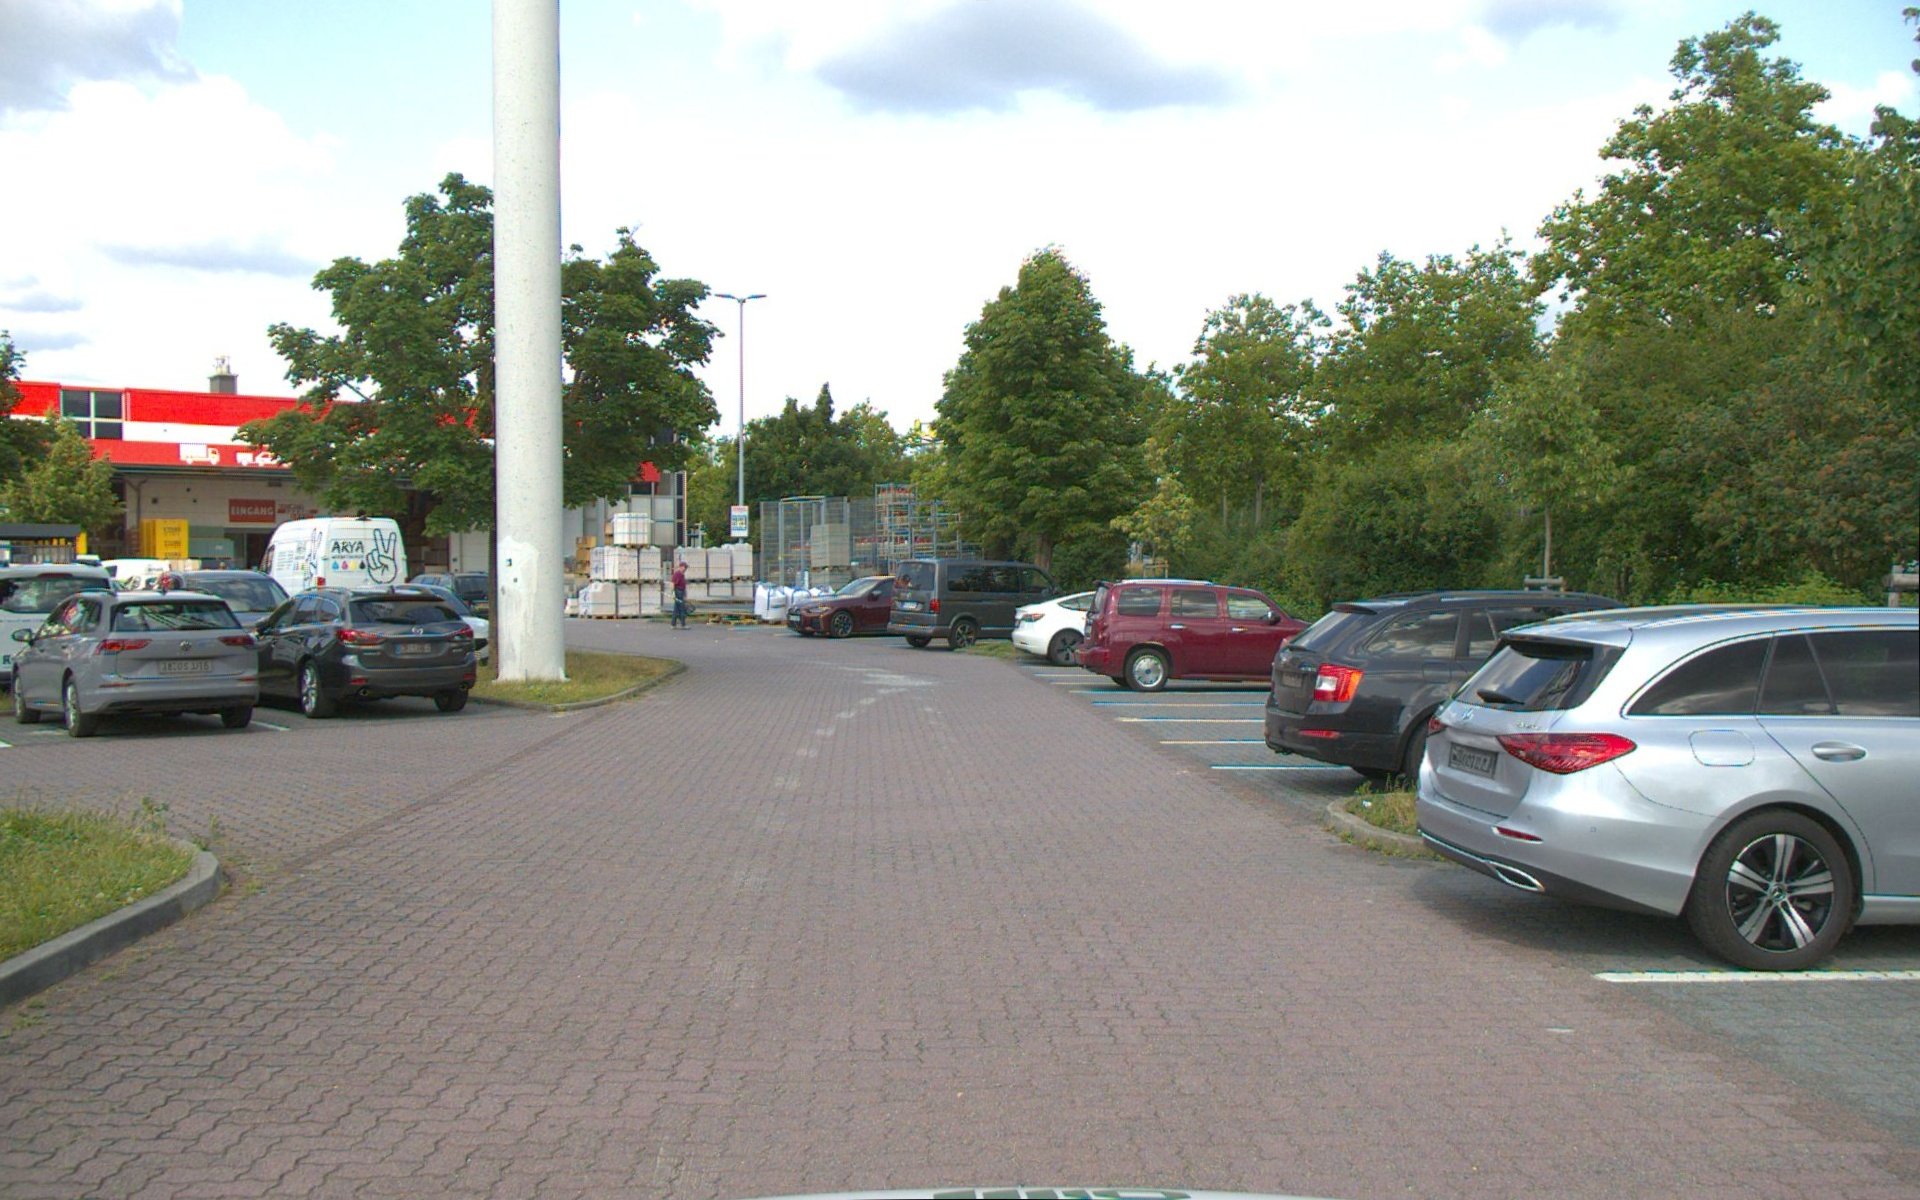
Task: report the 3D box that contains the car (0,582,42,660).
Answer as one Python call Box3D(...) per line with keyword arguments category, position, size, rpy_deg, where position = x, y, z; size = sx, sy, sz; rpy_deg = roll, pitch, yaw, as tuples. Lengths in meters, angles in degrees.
Box3D(category="car", position=(-18.906, 0.375, 31.821), size=(1.528, 1.430, 3.574), rpy_deg=(3, -2, -39))

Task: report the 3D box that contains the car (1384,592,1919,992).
Box3D(category="car", position=(4.466, 0.746, 7.623), size=(4.548, 1.531, 1.783), rpy_deg=(-1, 1, -5))

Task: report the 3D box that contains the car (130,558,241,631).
Box3D(category="car", position=(-22.773, -0.136, 48.565), size=(1.982, 2.049, 3.940), rpy_deg=(1, 0, -41))

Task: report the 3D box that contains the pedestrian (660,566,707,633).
Box3D(category="pedestrian", position=(-7.136, -0.018, 42.762), size=(0.901, 1.695, 0.784), rpy_deg=(0, 1, 24))

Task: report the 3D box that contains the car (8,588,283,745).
Box3D(category="car", position=(-8.776, 0.621, 17.691), size=(1.711, 1.472, 3.715), rpy_deg=(-1, 1, -42))

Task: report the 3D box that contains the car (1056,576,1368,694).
Box3D(category="car", position=(3.659, 0.472, 24.488), size=(4.223, 1.624, 1.998), rpy_deg=(-1, 1, -6))

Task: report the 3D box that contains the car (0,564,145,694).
Box3D(category="car", position=(-12.667, 0.343, 22.592), size=(1.892, 1.624, 3.942), rpy_deg=(-1, 1, -40))

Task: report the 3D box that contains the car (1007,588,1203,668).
Box3D(category="car", position=(2.760, 0.537, 31.883), size=(3.561, 1.494, 1.632), rpy_deg=(0, -1, -4))

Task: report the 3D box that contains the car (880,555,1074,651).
Box3D(category="car", position=(0.404, 0.103, 37.296), size=(4.009, 2.054, 1.924), rpy_deg=(1, -1, -34))

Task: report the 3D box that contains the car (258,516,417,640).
Box3D(category="car", position=(-13.878, -0.502, 36.740), size=(2.032, 2.554, 4.665), rpy_deg=(0, 1, -38))

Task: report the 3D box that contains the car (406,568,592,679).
Box3D(category="car", position=(-7.600, 0.327, 27.023), size=(1.974, 1.646, 3.958), rpy_deg=(-1, 1, -31))

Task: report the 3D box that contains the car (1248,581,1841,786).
Box3D(category="car", position=(4.319, 0.619, 12.560), size=(3.909, 1.405, 1.697), rpy_deg=(1, -1, -5))

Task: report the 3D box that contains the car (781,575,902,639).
Box3D(category="car", position=(-2.908, 0.194, 40.694), size=(2.653, 1.457, 1.340), rpy_deg=(3, -2, -31))

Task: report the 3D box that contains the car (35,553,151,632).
Box3D(category="car", position=(-24.389, -0.191, 46.482), size=(1.982, 2.049, 3.940), rpy_deg=(3, -2, -41))

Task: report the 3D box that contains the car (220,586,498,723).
Box3D(category="car", position=(-7.355, 0.579, 20.037), size=(1.812, 1.464, 4.028), rpy_deg=(-1, 1, -42))
